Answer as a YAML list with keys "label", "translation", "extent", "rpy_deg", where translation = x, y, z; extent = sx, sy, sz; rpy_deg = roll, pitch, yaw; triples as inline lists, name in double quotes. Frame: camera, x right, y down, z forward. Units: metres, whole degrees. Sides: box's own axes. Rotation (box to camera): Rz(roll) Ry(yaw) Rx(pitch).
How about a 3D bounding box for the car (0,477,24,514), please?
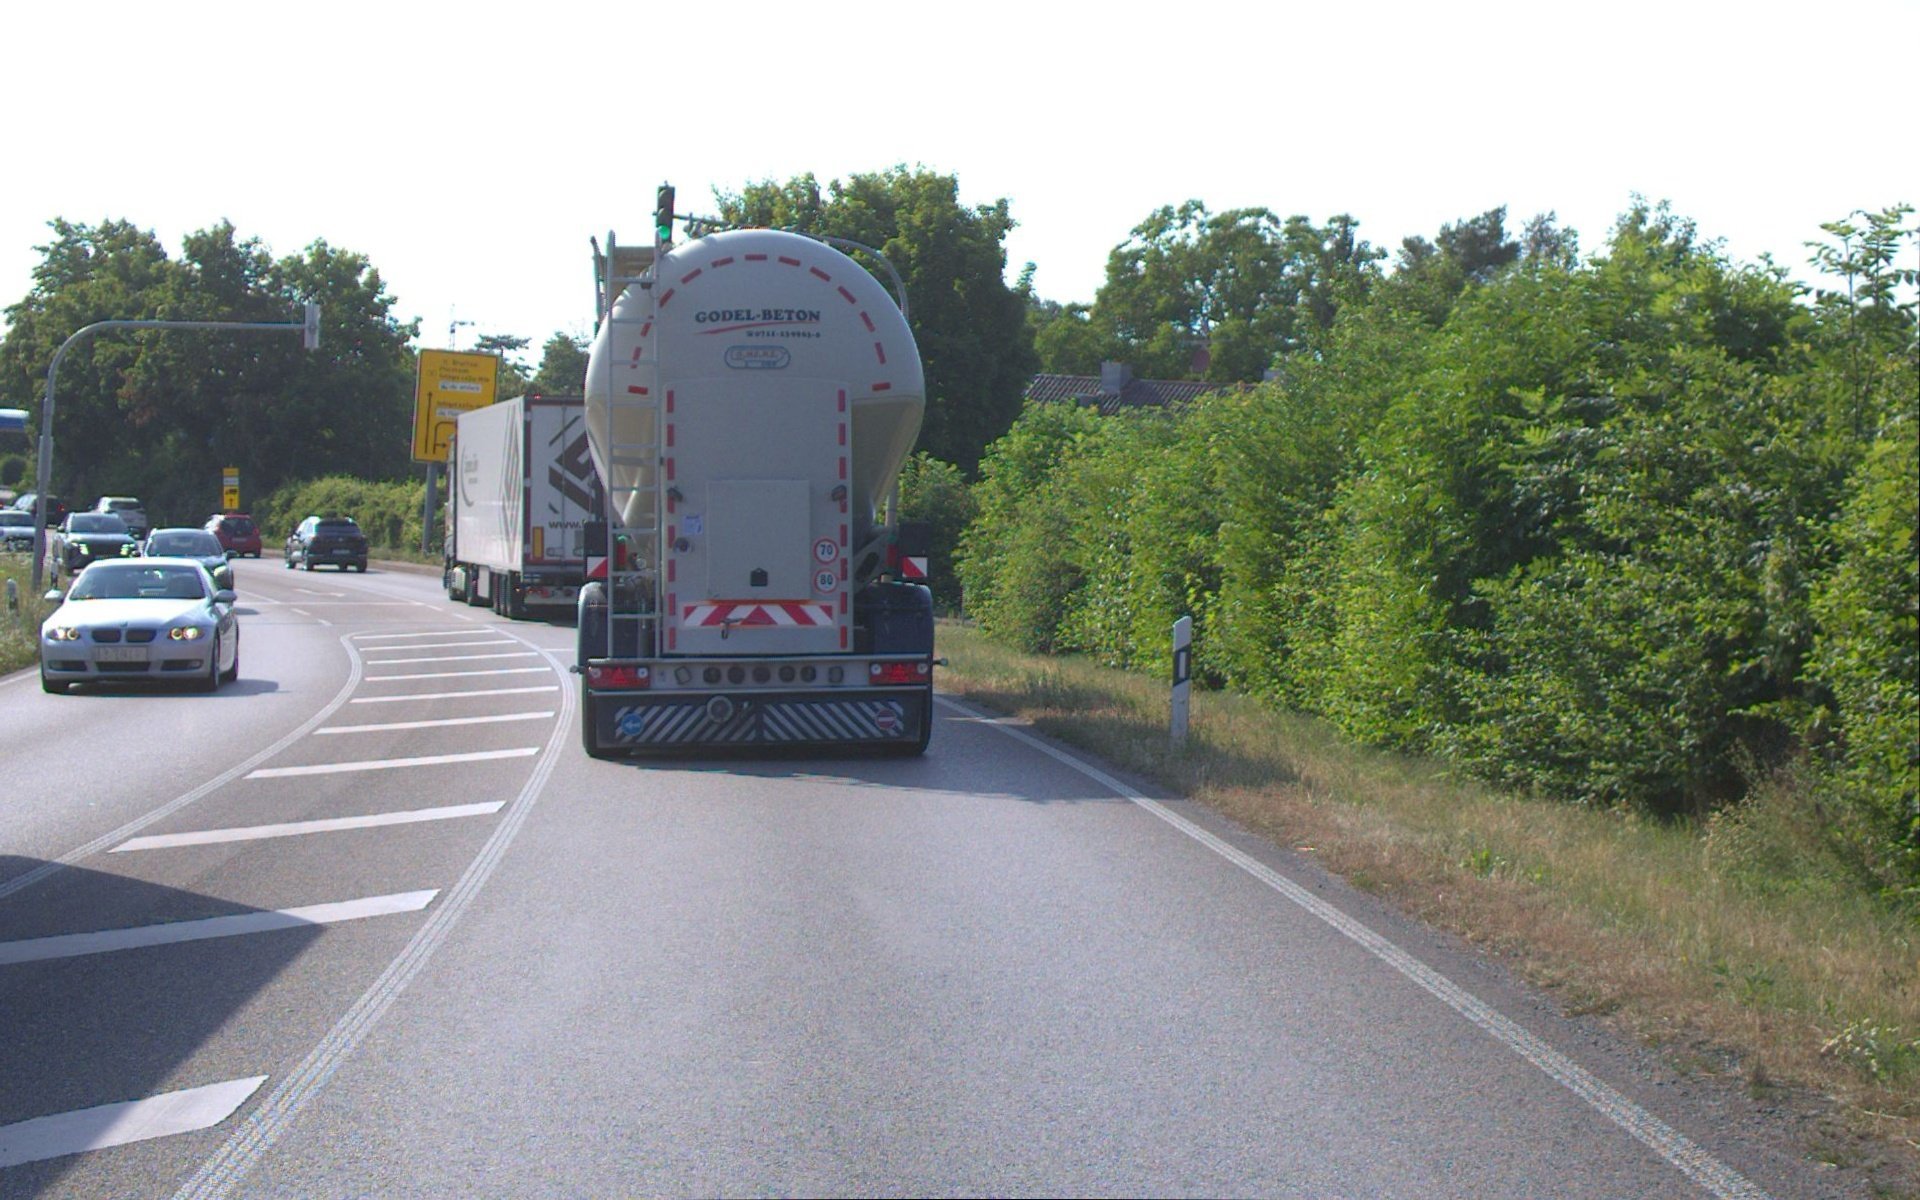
- label: "car"
  translation: [-42.281, -4.591, 150.409]
  extent: [1.881, 1.594, 4.001]
  rpy_deg: [1, 1, -25]

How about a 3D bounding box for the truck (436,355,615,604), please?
- label: "truck"
  translation: [-9.127, -2.405, 71.571]
  extent: [2.962, 4.870, 6.432]
  rpy_deg: [1, 0, -13]

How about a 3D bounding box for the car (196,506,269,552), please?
- label: "car"
  translation: [-24.661, -2.388, 116.480]
  extent: [1.683, 1.463, 4.001]
  rpy_deg: [1, 0, -22]

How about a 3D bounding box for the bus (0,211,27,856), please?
- label: "bus"
  translation: [-5.739, -0.341, 11.242]
  extent: [2.794, 3.171, 12.128]
  rpy_deg: [1, 0, -4]

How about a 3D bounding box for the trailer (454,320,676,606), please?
- label: "trailer"
  translation: [-7.584, -2.390, 64.705]
  extent: [2.963, 4.865, 10.291]
  rpy_deg: [1, 0, -13]

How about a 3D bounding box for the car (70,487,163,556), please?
- label: "car"
  translation: [-22.149, -2.074, 90.426]
  extent: [1.993, 1.719, 4.427]
  rpy_deg: [1, 2, -9]

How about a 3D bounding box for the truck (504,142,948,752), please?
- label: "truck"
  translation: [-1.945, -1.058, 29.741]
  extent: [2.975, 4.161, 11.663]
  rpy_deg: [1, 0, -3]

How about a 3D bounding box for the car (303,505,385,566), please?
- label: "car"
  translation: [-17.968, -1.865, 100.190]
  extent: [1.993, 1.650, 4.001]
  rpy_deg: [1, 0, -15]

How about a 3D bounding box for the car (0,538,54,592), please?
- label: "car"
  translation: [-30.106, -1.119, 109.473]
  extent: [1.841, 1.650, 4.001]
  rpy_deg: [1, 0, -23]

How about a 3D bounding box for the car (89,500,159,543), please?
- label: "car"
  translation: [-34.084, -3.178, 140.062]
  extent: [1.841, 1.650, 4.001]
  rpy_deg: [1, 0, -27]

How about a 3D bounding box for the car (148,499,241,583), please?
- label: "car"
  translation: [-14.972, -1.127, 67.291]
  extent: [1.694, 1.547, 4.153]
  rpy_deg: [1, 0, -12]

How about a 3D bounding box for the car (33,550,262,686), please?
- label: "car"
  translation: [-8.570, 0.161, 36.587]
  extent: [1.699, 1.329, 4.750]
  rpy_deg: [1, 0, -5]
